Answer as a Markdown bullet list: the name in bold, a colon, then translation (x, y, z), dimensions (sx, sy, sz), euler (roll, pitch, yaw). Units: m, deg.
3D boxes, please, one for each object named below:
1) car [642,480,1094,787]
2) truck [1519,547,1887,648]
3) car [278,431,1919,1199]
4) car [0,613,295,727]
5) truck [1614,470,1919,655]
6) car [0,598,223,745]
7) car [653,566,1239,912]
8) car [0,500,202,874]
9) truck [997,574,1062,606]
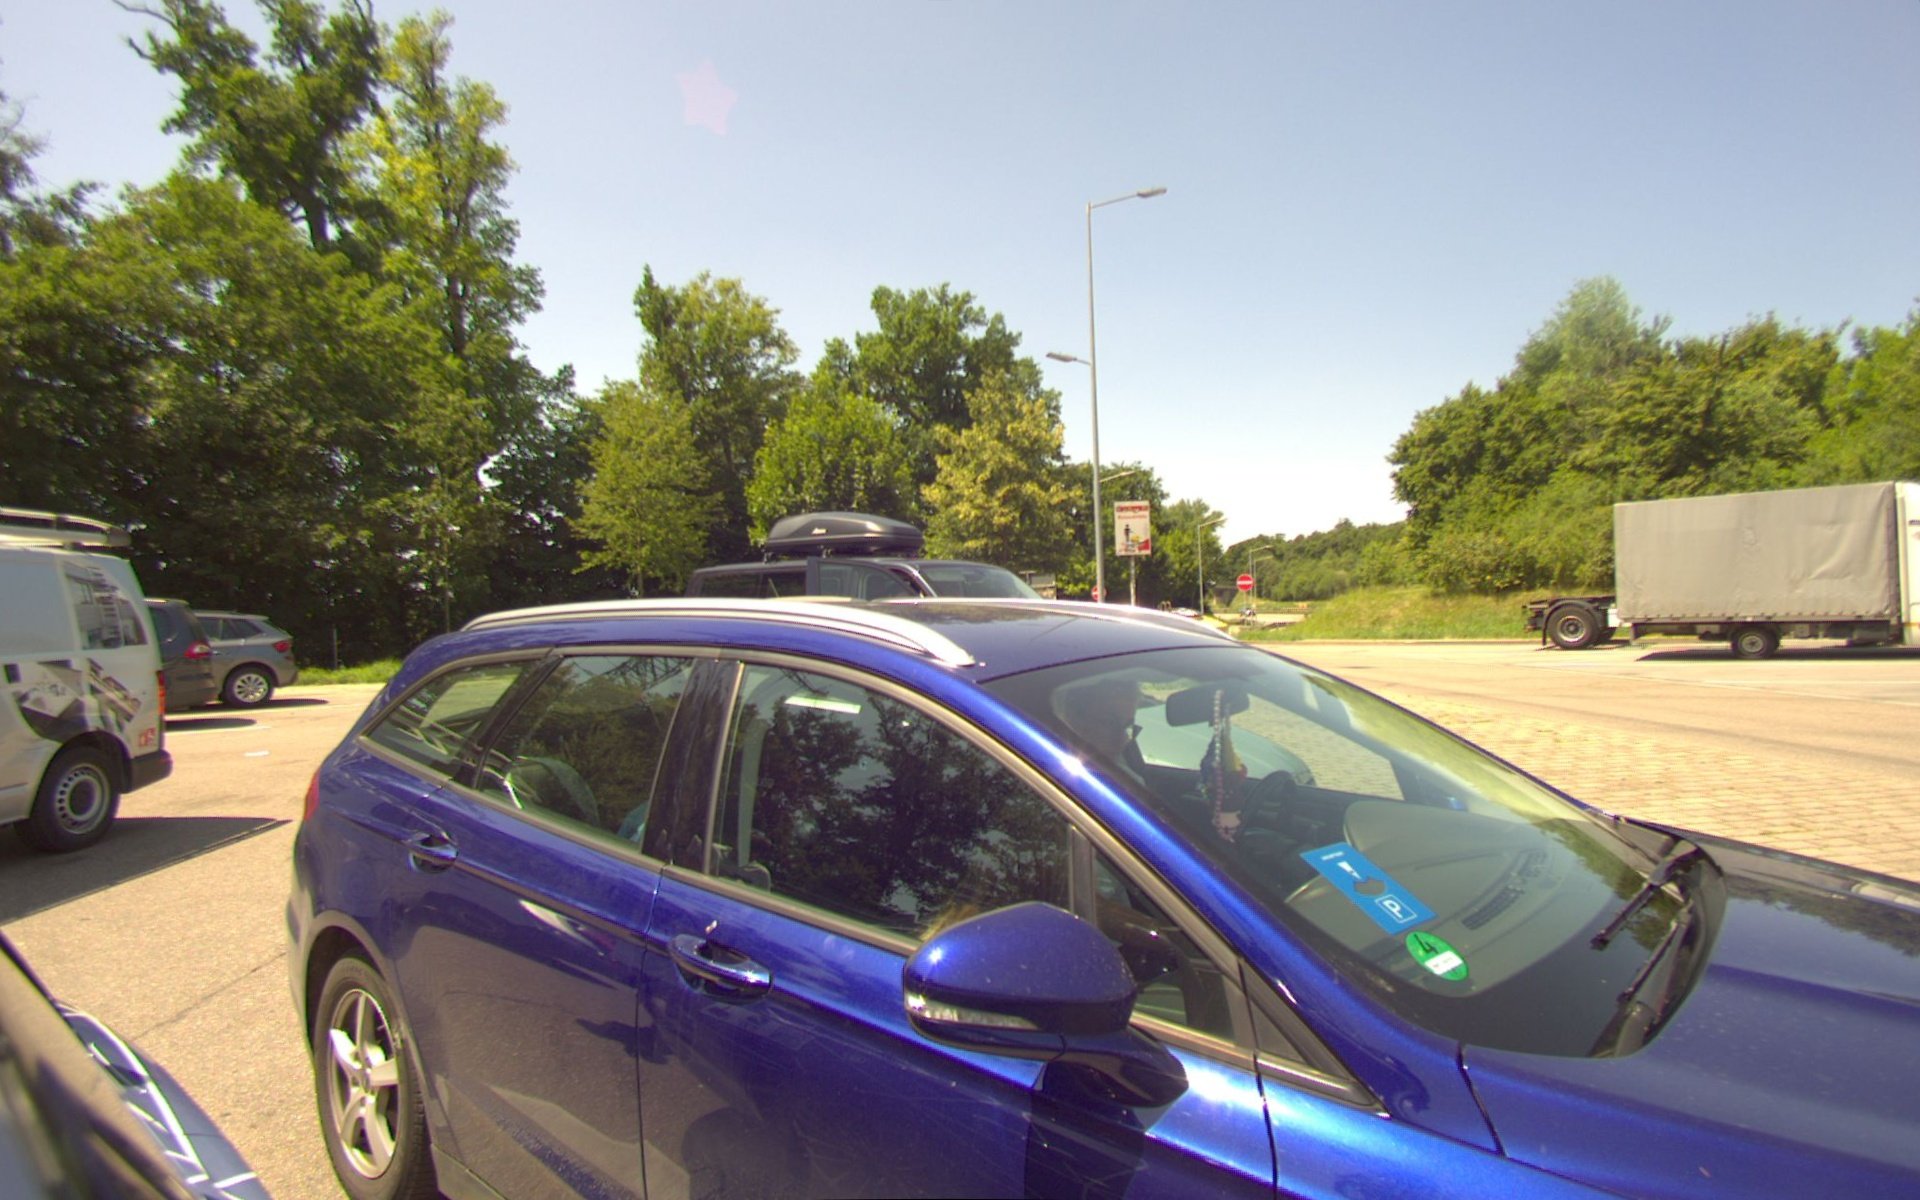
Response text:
- **car**: translation (-0.979, 0.315, 9.622), dimensions (4.076, 2.336, 1.767), euler (-2, -1, 35)
- **truck**: translation (16.902, 0.042, 23.436), dimensions (6.613, 2.029, 1.973), euler (-2, -1, 41)
- **car**: translation (0.298, 0.633, 2.049), dimensions (4.411, 1.429, 1.721), euler (-2, -1, 41)
- **car**: translation (-12.570, 0.989, 15.704), dimensions (3.535, 1.513, 1.708), euler (-1, 0, -42)
- **truck**: translation (16.643, -0.628, 18.792), dimensions (7.253, 3.175, 2.148), euler (-2, -1, 41)
- **car**: translation (-11.677, 0.859, 12.611), dimensions (1.755, 1.701, 3.798), euler (-2, -1, 45)
- **car**: translation (-0.232, 0.587, 5.549), dimensions (3.112, 1.370, 1.326), euler (-2, -1, 41)
- **car**: translation (-6.263, 0.480, 4.678), dimensions (1.816, 2.121, 5.440), euler (0, -1, -5)
- **truck**: translation (3.354, -0.465, 48.758), dimensions (2.866, 1.386, 1.158), euler (-2, -1, 22)
